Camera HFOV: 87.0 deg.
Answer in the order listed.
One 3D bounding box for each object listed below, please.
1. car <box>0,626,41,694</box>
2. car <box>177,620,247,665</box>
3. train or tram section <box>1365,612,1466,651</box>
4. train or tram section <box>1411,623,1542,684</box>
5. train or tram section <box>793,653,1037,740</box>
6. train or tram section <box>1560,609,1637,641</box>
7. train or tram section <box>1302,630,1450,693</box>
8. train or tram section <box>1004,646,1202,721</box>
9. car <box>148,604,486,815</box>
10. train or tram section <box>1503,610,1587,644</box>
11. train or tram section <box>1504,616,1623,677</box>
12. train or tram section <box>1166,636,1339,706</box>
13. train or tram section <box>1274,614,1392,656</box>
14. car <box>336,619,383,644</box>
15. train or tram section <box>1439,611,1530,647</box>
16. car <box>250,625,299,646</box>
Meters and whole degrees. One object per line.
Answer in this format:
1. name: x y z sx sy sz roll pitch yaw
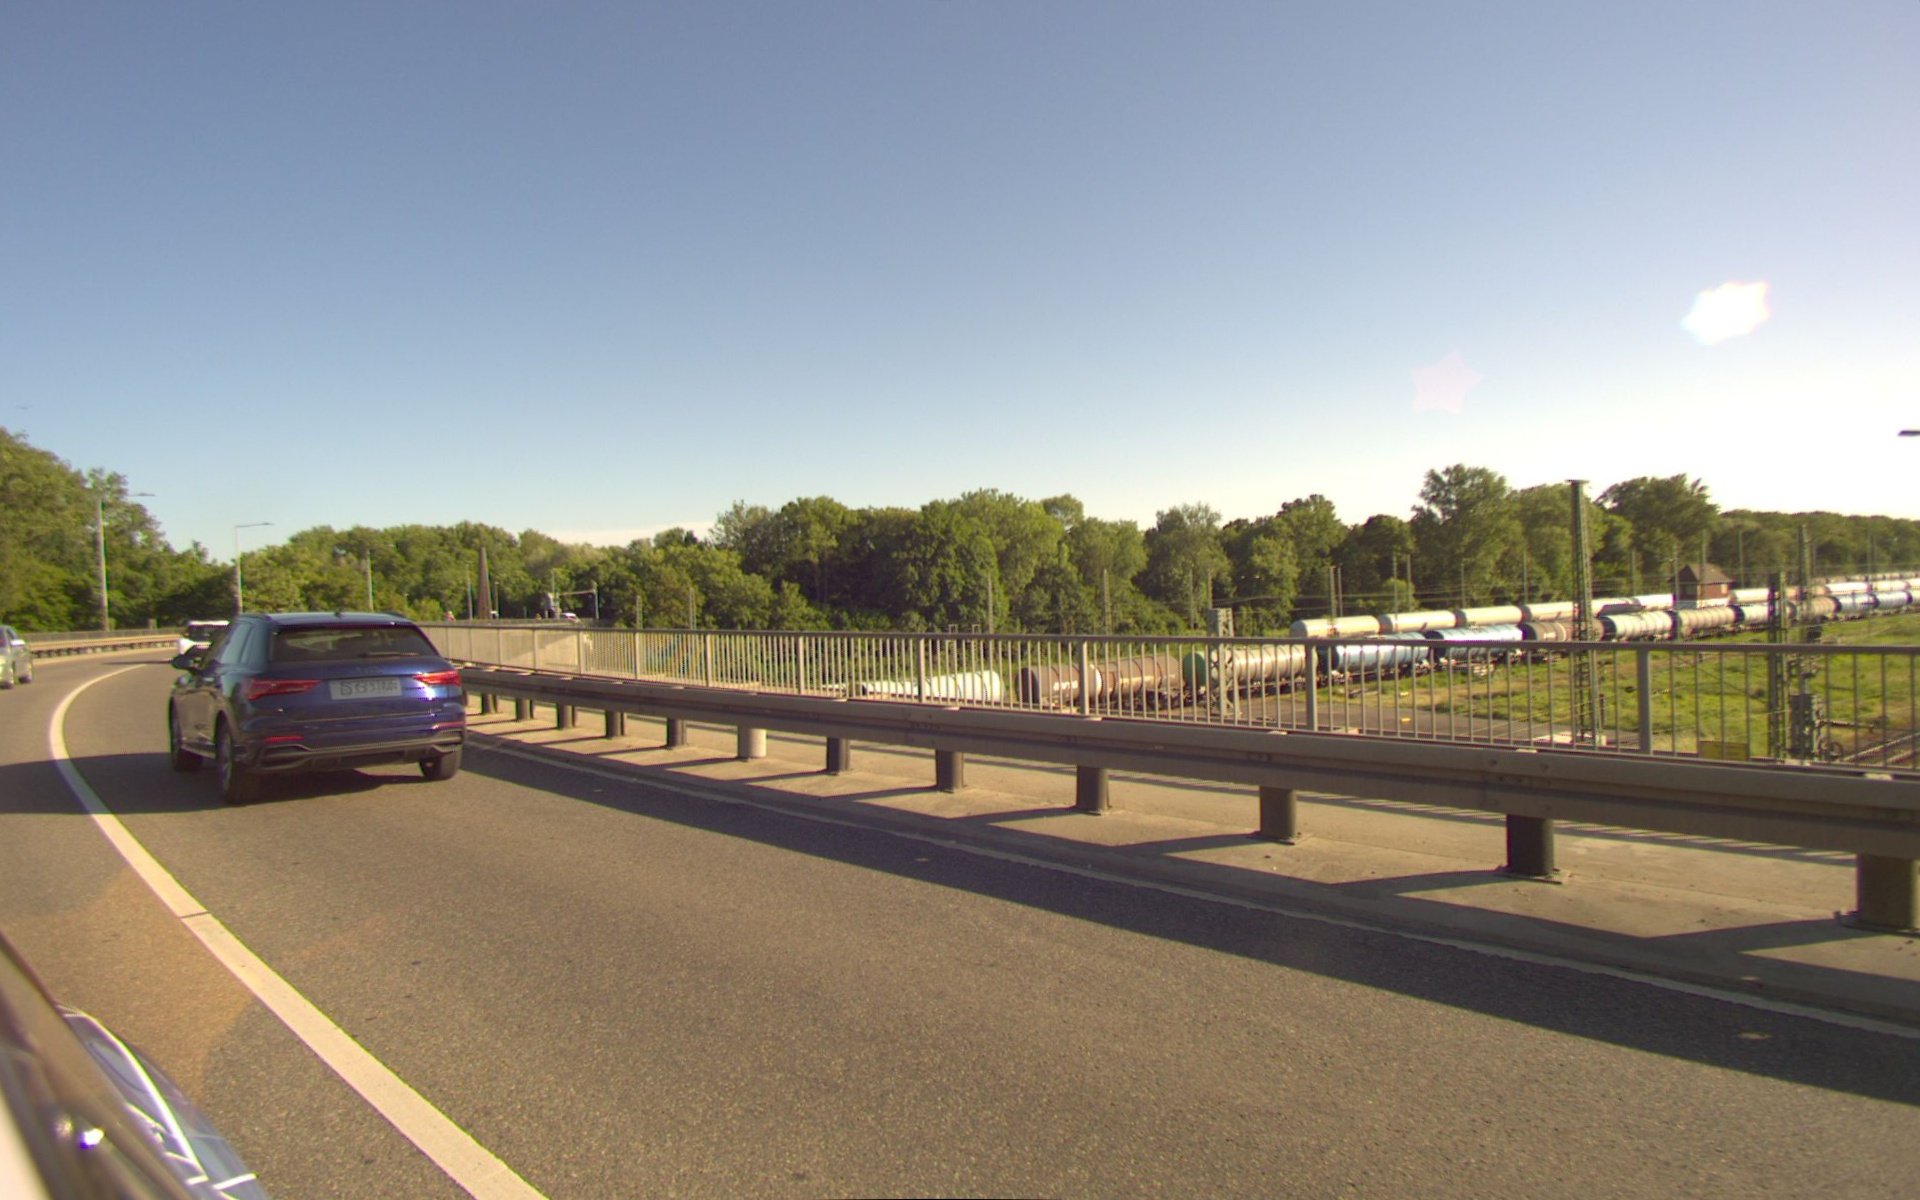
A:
1. car: -22.540 1.341 23.066 1.736 1.447 4.341 0 -1 -34
2. car: -27.686 1.538 37.549 1.812 1.530 3.780 0 -1 -33
3. train or tram section: 65.275 4.444 144.611 17.882 5.125 4.060 0 -1 -33
4. train or tram section: 52.407 5.208 102.306 16.225 5.561 3.917 0 -1 -32
5. train or tram section: -2.695 6.219 67.903 16.485 4.626 3.917 0 -1 -32
6. train or tram section: 109.539 4.223 173.400 17.567 5.125 4.060 0 -1 -33
7. train or tram section: 38.692 5.521 93.679 16.089 5.054 3.917 0 -1 -32
8. train or tram section: 11.071 6.097 76.525 16.036 4.626 3.917 0 -1 -32
9. car: -6.260 0.860 9.644 4.186 1.564 1.803 -2 -1 44
10. train or tram section: 94.856 4.296 163.855 17.567 5.125 4.060 0 -1 -33
11. train or tram section: 66.343 4.920 111.033 16.673 6.055 3.917 0 -1 -32
12. train or tram section: 24.832 5.774 85.136 16.385 5.054 3.917 0 -1 -32
13. train or tram section: 49.799 4.521 134.534 19.027 5.125 4.060 0 -1 -33
14. car: -41.503 2.178 70.004 1.823 1.635 4.114 -1 -1 -16
15. train or tram section: 80.142 4.370 154.292 17.567 5.125 4.060 0 -1 -33
16. car: -51.564 2.646 76.164 1.960 1.484 4.142 -1 -1 -18
